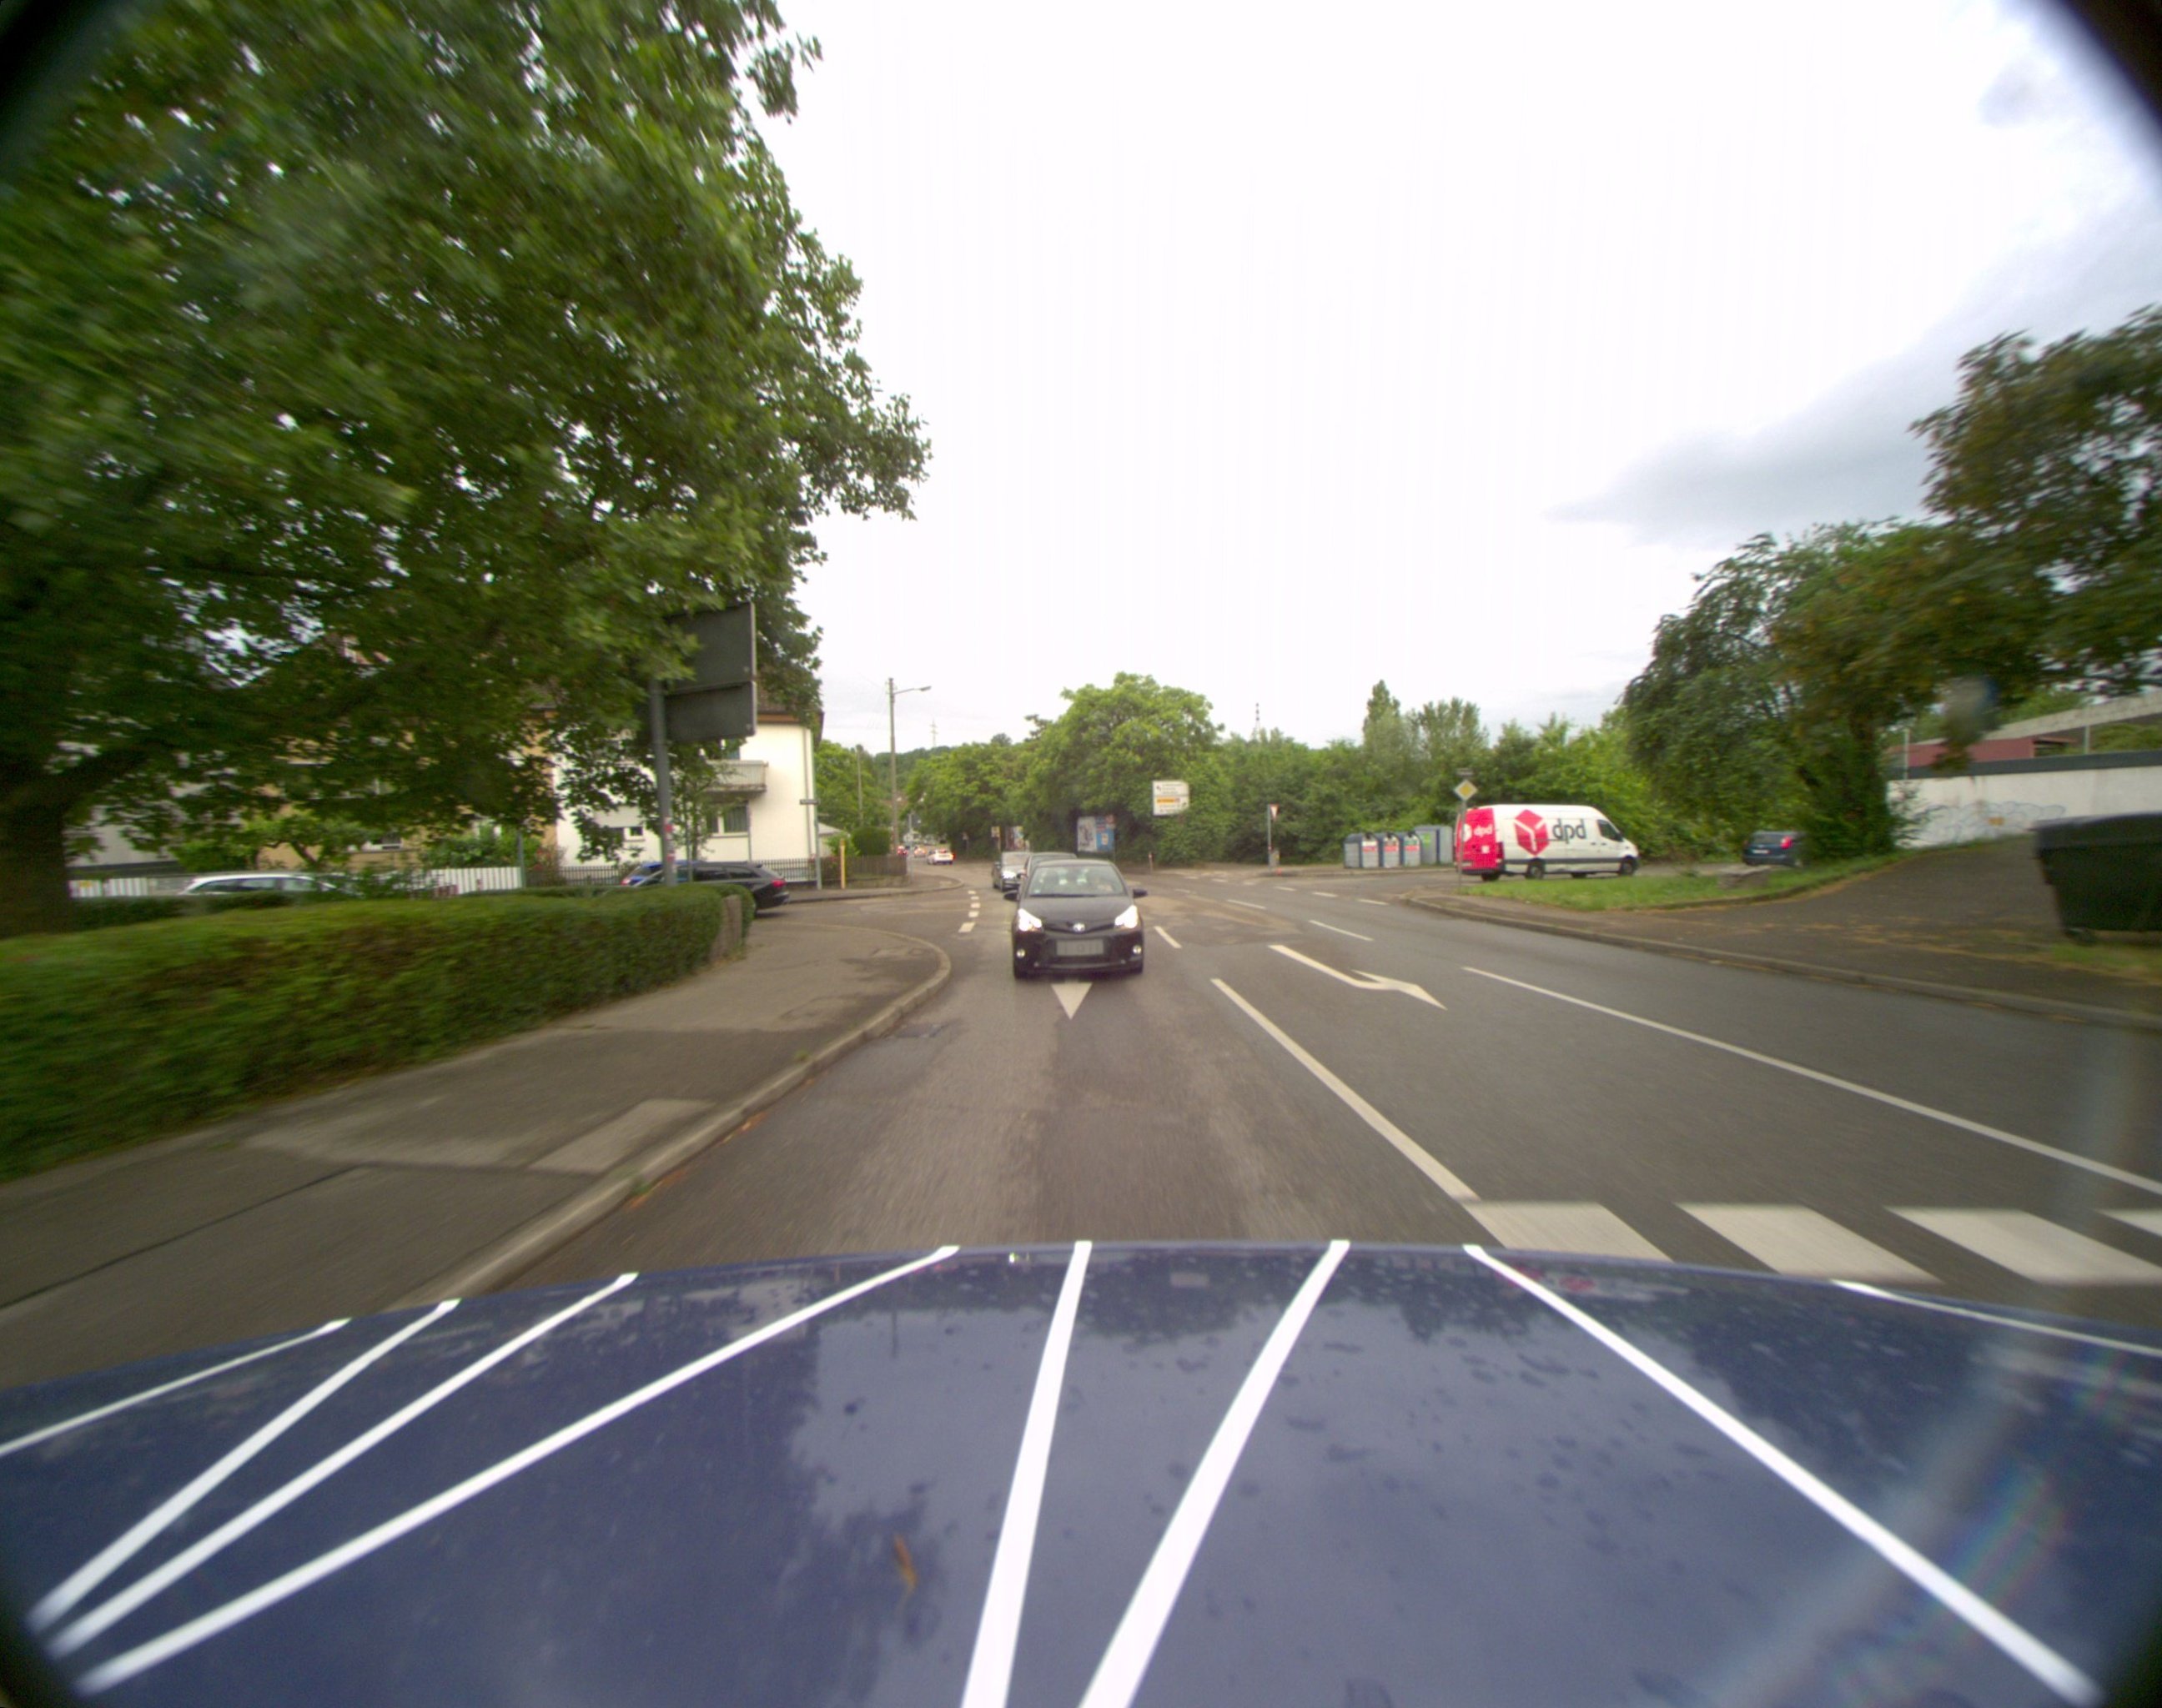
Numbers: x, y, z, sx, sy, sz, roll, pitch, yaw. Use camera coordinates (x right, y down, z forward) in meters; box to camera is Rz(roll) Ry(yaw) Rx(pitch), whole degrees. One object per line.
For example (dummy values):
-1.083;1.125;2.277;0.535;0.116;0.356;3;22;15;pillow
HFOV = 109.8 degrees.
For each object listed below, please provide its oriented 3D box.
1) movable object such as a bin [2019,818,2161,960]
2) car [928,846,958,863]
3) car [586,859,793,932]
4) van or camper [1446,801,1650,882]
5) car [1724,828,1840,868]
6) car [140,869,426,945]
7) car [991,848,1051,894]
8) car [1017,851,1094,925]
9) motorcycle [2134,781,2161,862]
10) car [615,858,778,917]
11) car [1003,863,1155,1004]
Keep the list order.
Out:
11.480;0.352;8.336;1.475;1.432;1.374;-3;-2;-37;movable object such as a bin
-13.628;0.048;74.666;1.844;1.548;5.563;-2;1;-21;car
-9.688;0.965;19.221;4.397;1.505;1.996;-2;1;-22;car
16.157;-0.474;26.265;6.702;2.507;2.219;-2;1;-19;van or camper
30.145;-0.267;32.670;4.072;1.521;1.997;-2;1;-20;car
-19.484;1.234;18.842;4.396;1.505;1.997;-2;1;-19;car
-2.330;0.597;28.735;1.709;1.548;3.995;-2;1;-12;car
-0.646;0.731;18.535;1.645;1.548;3.627;-2;1;-3;car
16.960;-0.547;11.487;1.481;1.190;0.431;-6;4;0;motorcycle
-10.963;0.905;21.997;4.004;1.455;1.857;-2;1;-23;car
-0.125;0.914;10.503;1.645;1.450;3.999;-2;0;-3;car
